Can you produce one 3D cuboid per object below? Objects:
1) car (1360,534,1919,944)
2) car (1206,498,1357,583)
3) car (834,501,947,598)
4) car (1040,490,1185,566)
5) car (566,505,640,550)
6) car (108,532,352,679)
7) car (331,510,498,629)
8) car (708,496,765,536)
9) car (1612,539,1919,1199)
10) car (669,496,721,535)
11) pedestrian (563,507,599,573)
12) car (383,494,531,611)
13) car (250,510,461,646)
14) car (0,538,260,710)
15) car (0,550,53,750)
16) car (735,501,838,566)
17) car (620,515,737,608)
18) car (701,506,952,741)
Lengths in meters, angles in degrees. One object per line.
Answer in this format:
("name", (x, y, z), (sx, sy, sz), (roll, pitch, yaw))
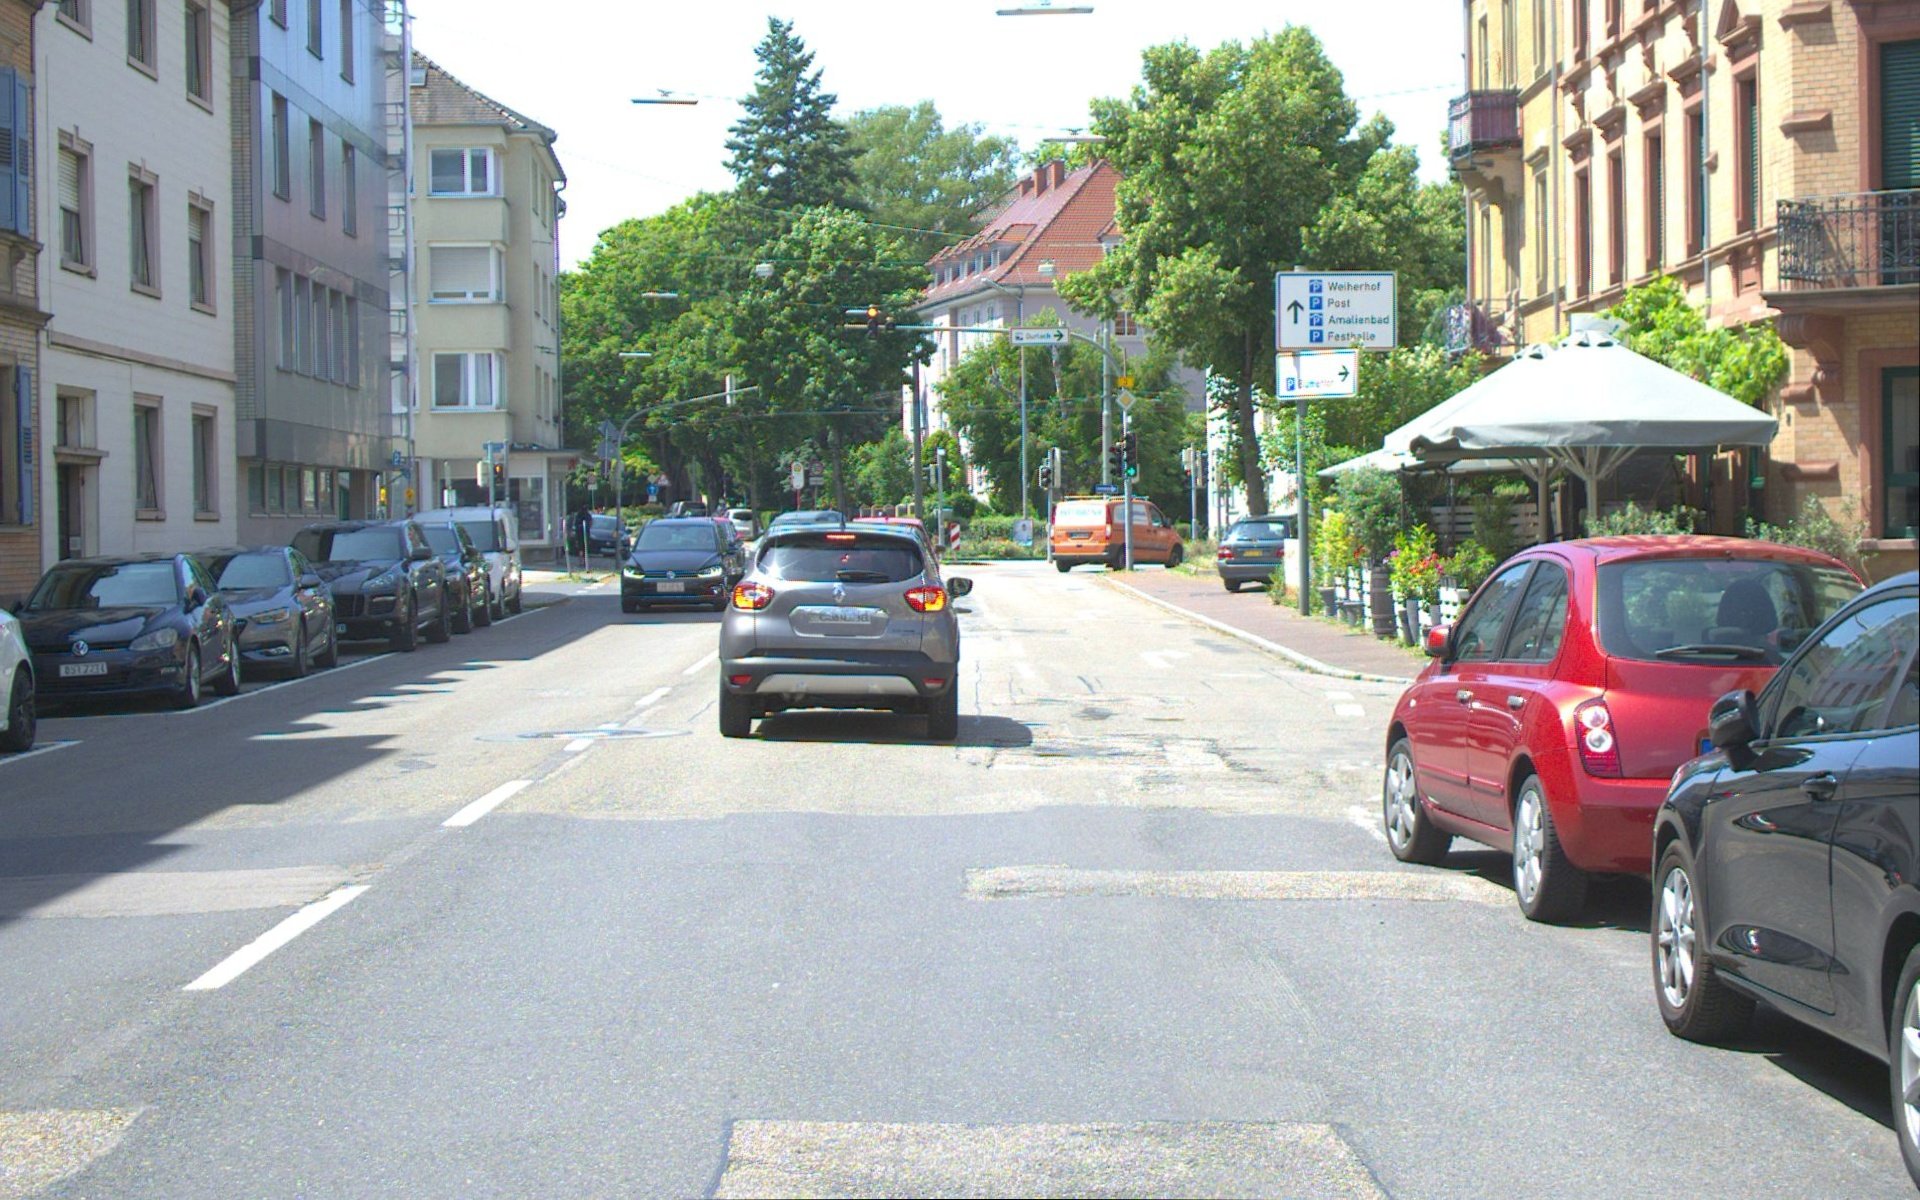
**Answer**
("car", (2.947, 0.489, 14.730), (1.757, 1.473, 3.784), (2, 1, -4))
("car", (6.551, -1.229, 69.532), (1.836, 1.543, 5.152), (0, 3, 19))
("car", (-1.137, -0.878, 57.992), (1.799, 1.552, 4.038), (1, 1, 0))
("car", (4.072, -1.923, 91.099), (1.997, 1.970, 4.495), (0, 1, 30))
("car", (-12.496, -2.530, 120.077), (1.993, 1.514, 4.001), (1, 1, -14))
("car", (-8.001, 0.006, 38.077), (1.864, 1.401, 4.838), (-4, 1, -3))
("car", (-8.042, -0.487, 51.065), (1.884, 1.635, 4.664), (-2, 1, -2))
("car", (-10.435, -3.927, 160.470), (1.993, 1.801, 4.002), (0, 2, -13))
("car", (2.981, 0.611, 9.049), (1.757, 1.473, 3.931), (2, 1, 0))
("car", (-13.410, -4.258, 173.620), (1.993, 1.900, 4.002), (0, 2, -13))
("pedestrian", (-11.162, -1.781, 101.260), (0.935, 1.925, 0.977), (0, 1, -13))
("car", (-8.336, -0.810, 57.353), (1.913, 1.819, 4.789), (-2, 1, -2))
("car", (-7.815, -0.329, 44.895), (1.885, 1.635, 4.818), (-2, 1, 0))
("car", (-7.908, 0.177, 32.586), (1.864, 1.401, 4.332), (-4, 1, -4))
("car", (-7.814, 0.438, 23.891), (1.865, 1.421, 4.331), (-4, 1, -1))
("car", (-4.370, -1.699, 87.185), (1.702, 1.569, 4.311), (-1, 2, 9))
("car", (-4.756, -0.690, 58.554), (1.760, 1.489, 4.246), (-1, 2, -2))
("car", (-0.947, 0.114, 26.265), (1.754, 1.626, 4.000), (1, 2, 0))
